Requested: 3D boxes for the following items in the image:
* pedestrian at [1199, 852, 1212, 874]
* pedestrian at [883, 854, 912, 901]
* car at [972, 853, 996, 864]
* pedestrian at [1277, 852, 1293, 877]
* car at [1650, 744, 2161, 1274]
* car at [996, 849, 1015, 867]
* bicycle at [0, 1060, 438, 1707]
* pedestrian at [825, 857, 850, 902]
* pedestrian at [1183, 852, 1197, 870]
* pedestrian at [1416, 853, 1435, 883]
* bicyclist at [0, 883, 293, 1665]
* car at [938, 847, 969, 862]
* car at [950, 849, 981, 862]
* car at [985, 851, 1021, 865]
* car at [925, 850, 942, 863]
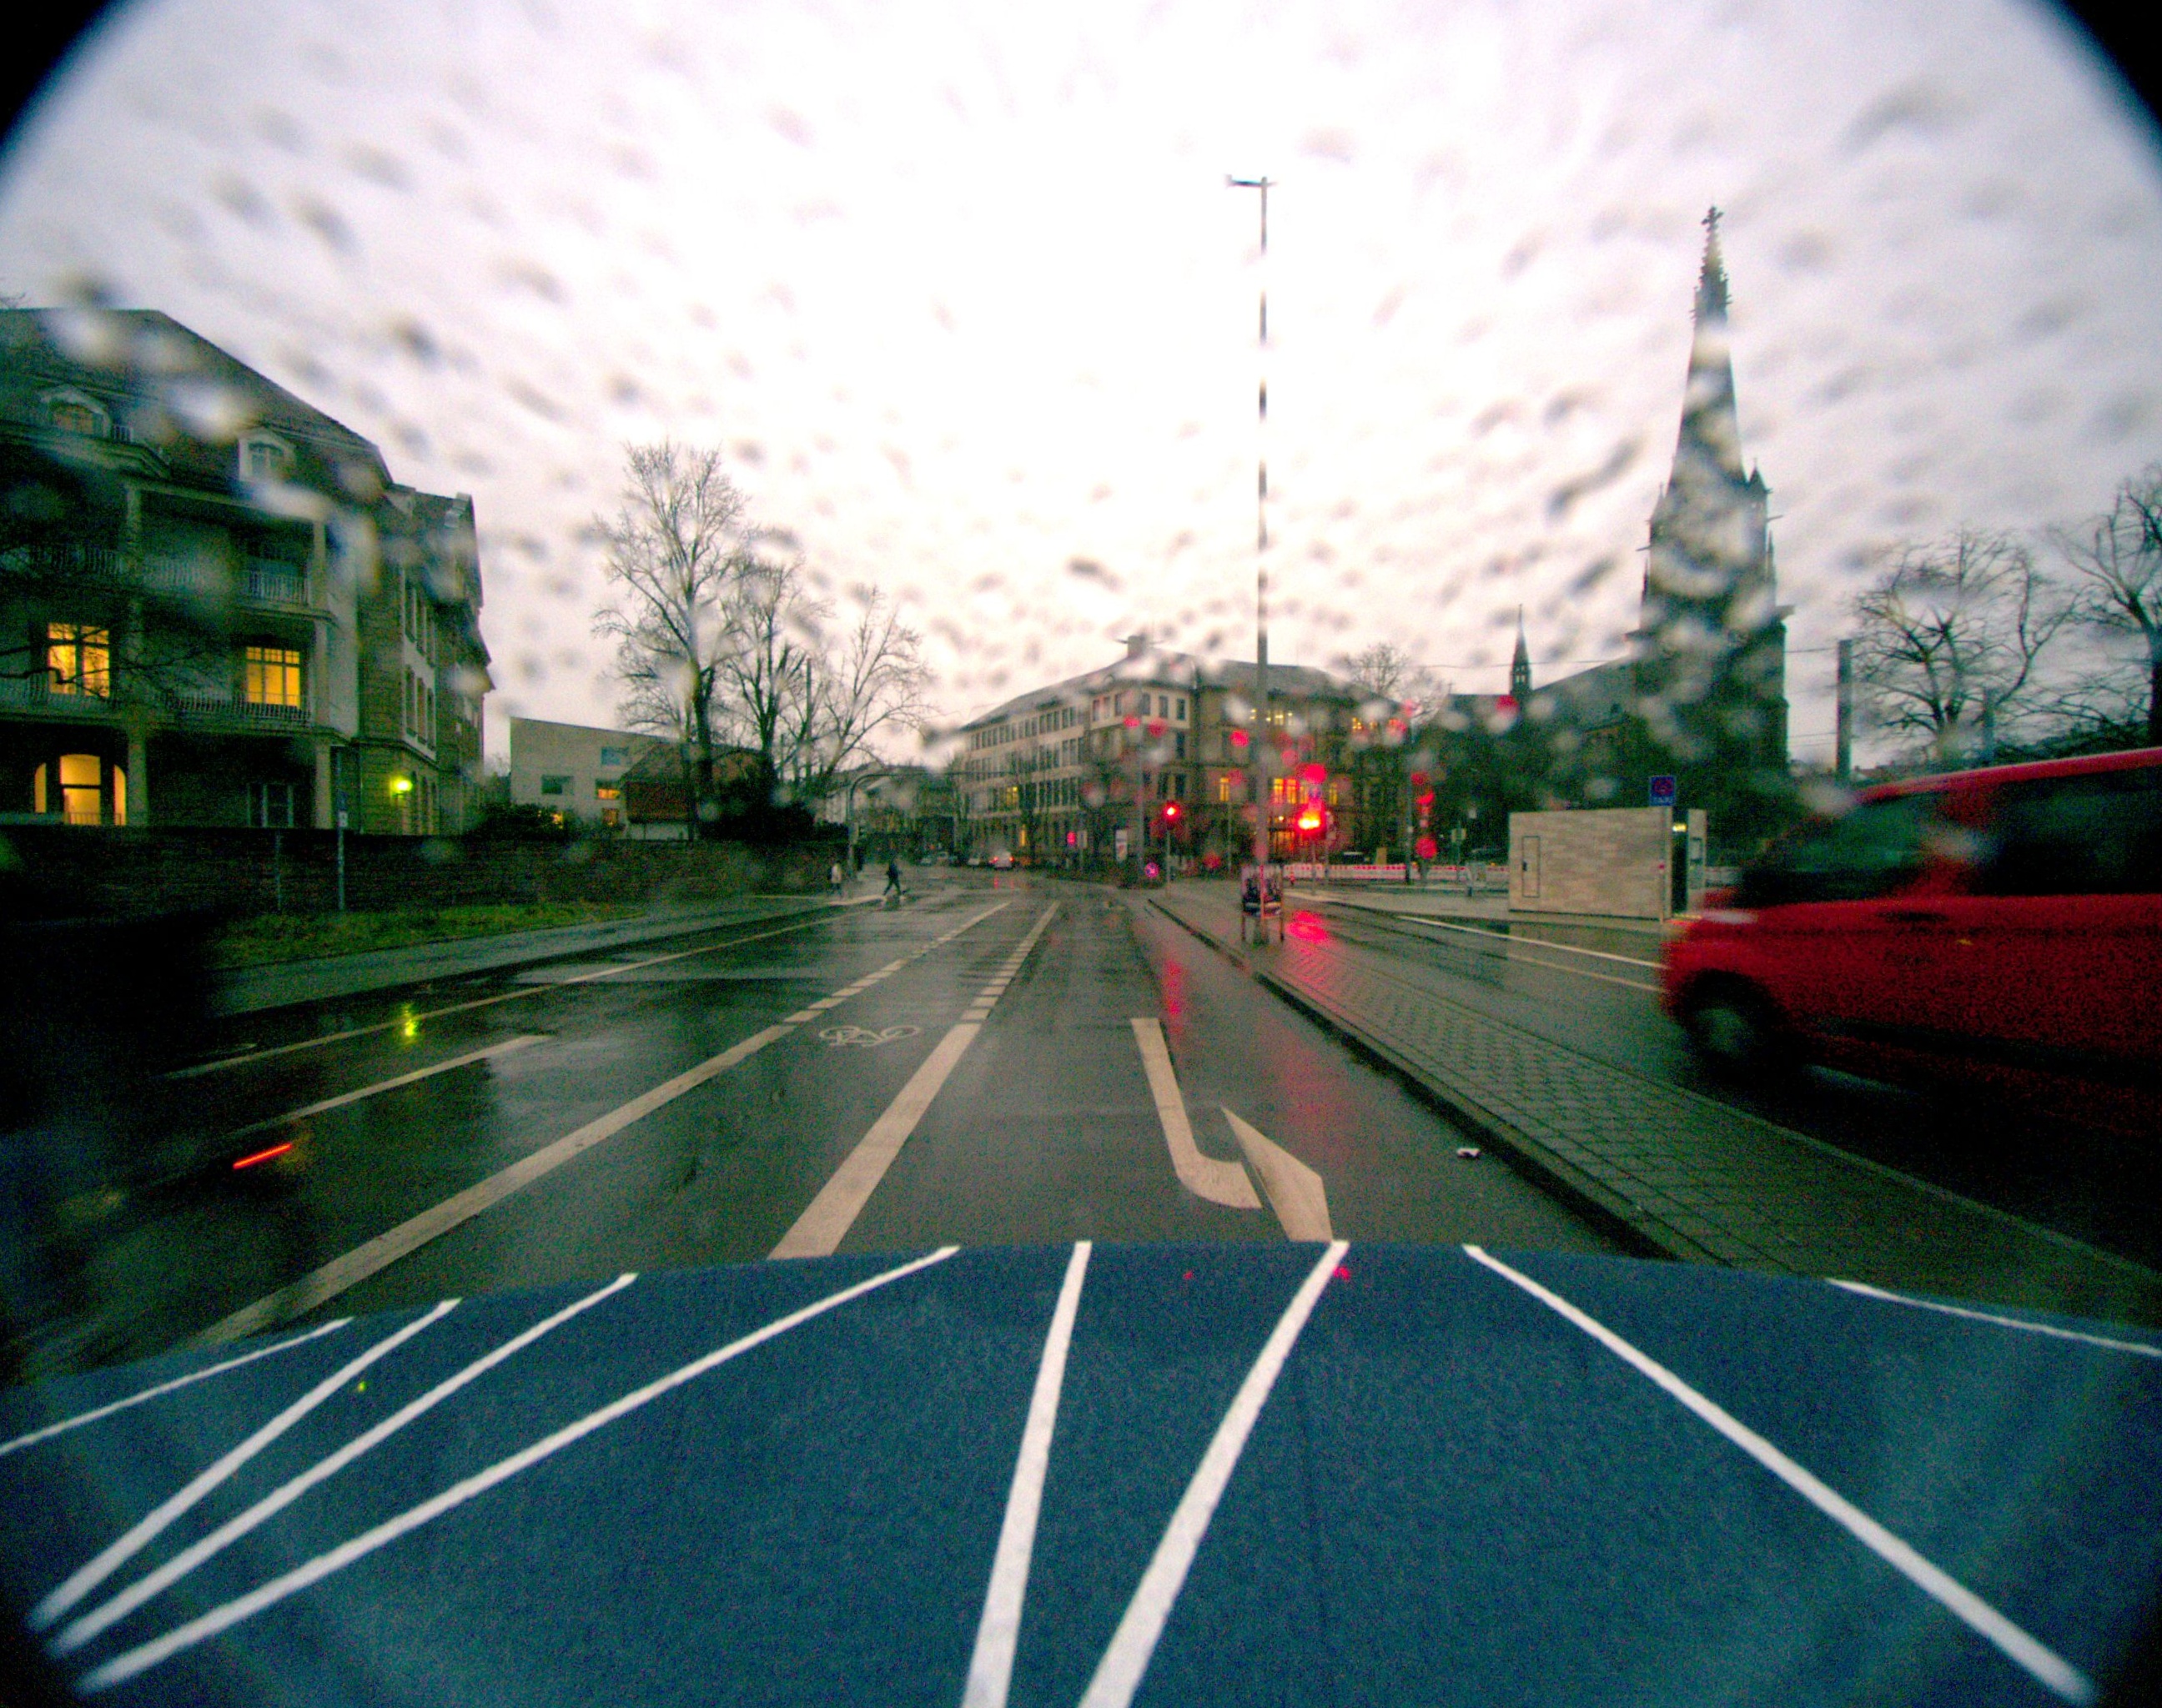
[{"bbox_3d":[10.595,0.737,64.665,0.675,1.806,0.895,0,1,-40],"label":"pedestrian"},{"bbox_3d":[-7.585,0.952,31.449,0.999,1.890,0.674,1,1,-1],"label":"pedestrian"},{"bbox_3d":[-12.136,0.571,95.305,1.706,1.298,3.647,-2,1,16],"label":"car"},{"bbox_3d":[15.828,0.828,58.968,0.675,1.890,0.971,0,2,-42],"label":"pedestrian"},{"bbox_3d":[5.166,0.613,3.245,1.929,2.058,4.643,1,0,0],"label":"car"},{"bbox_3d":[-8.163,0.371,82.300,1.884,1.835,3.997,-2,1,-7],"label":"car"},{"bbox_3d":[-2.440,1.200,1.391,0.785,1.069,1.957,-2,1,1],"label":"bicycle"},{"bbox_3d":[-9.600,0.998,29.973,0.798,1.713,0.674,1,1,0],"label":"pedestrian"},{"bbox_3d":[10.139,0.653,70.508,0.829,1.714,0.926,0,0,-37],"label":"pedestrian"},{"bbox_3d":[19.416,0.789,42.794,0.771,1.651,1.210,-1,1,34],"label":"pedestrian"},{"bbox_3d":[-2.450,0.816,1.371,0.785,1.444,1.134,-2,1,1],"label":"bicyclist"},{"bbox_3d":[-16.997,0.071,101.469,2.043,1.889,4.007,-2,1,28],"label":"car"},{"bbox_3d":[-15.092,0.196,99.403,1.797,1.541,4.007,-2,1,28],"label":"car"},{"bbox_3d":[-9.281,0.477,90.533,1.797,1.541,4.007,-1,1,45],"label":"car"},{"bbox_3d":[-20.737,0.367,106.844,2.000,1.660,3.997,-2,1,-7],"label":"car"}]
